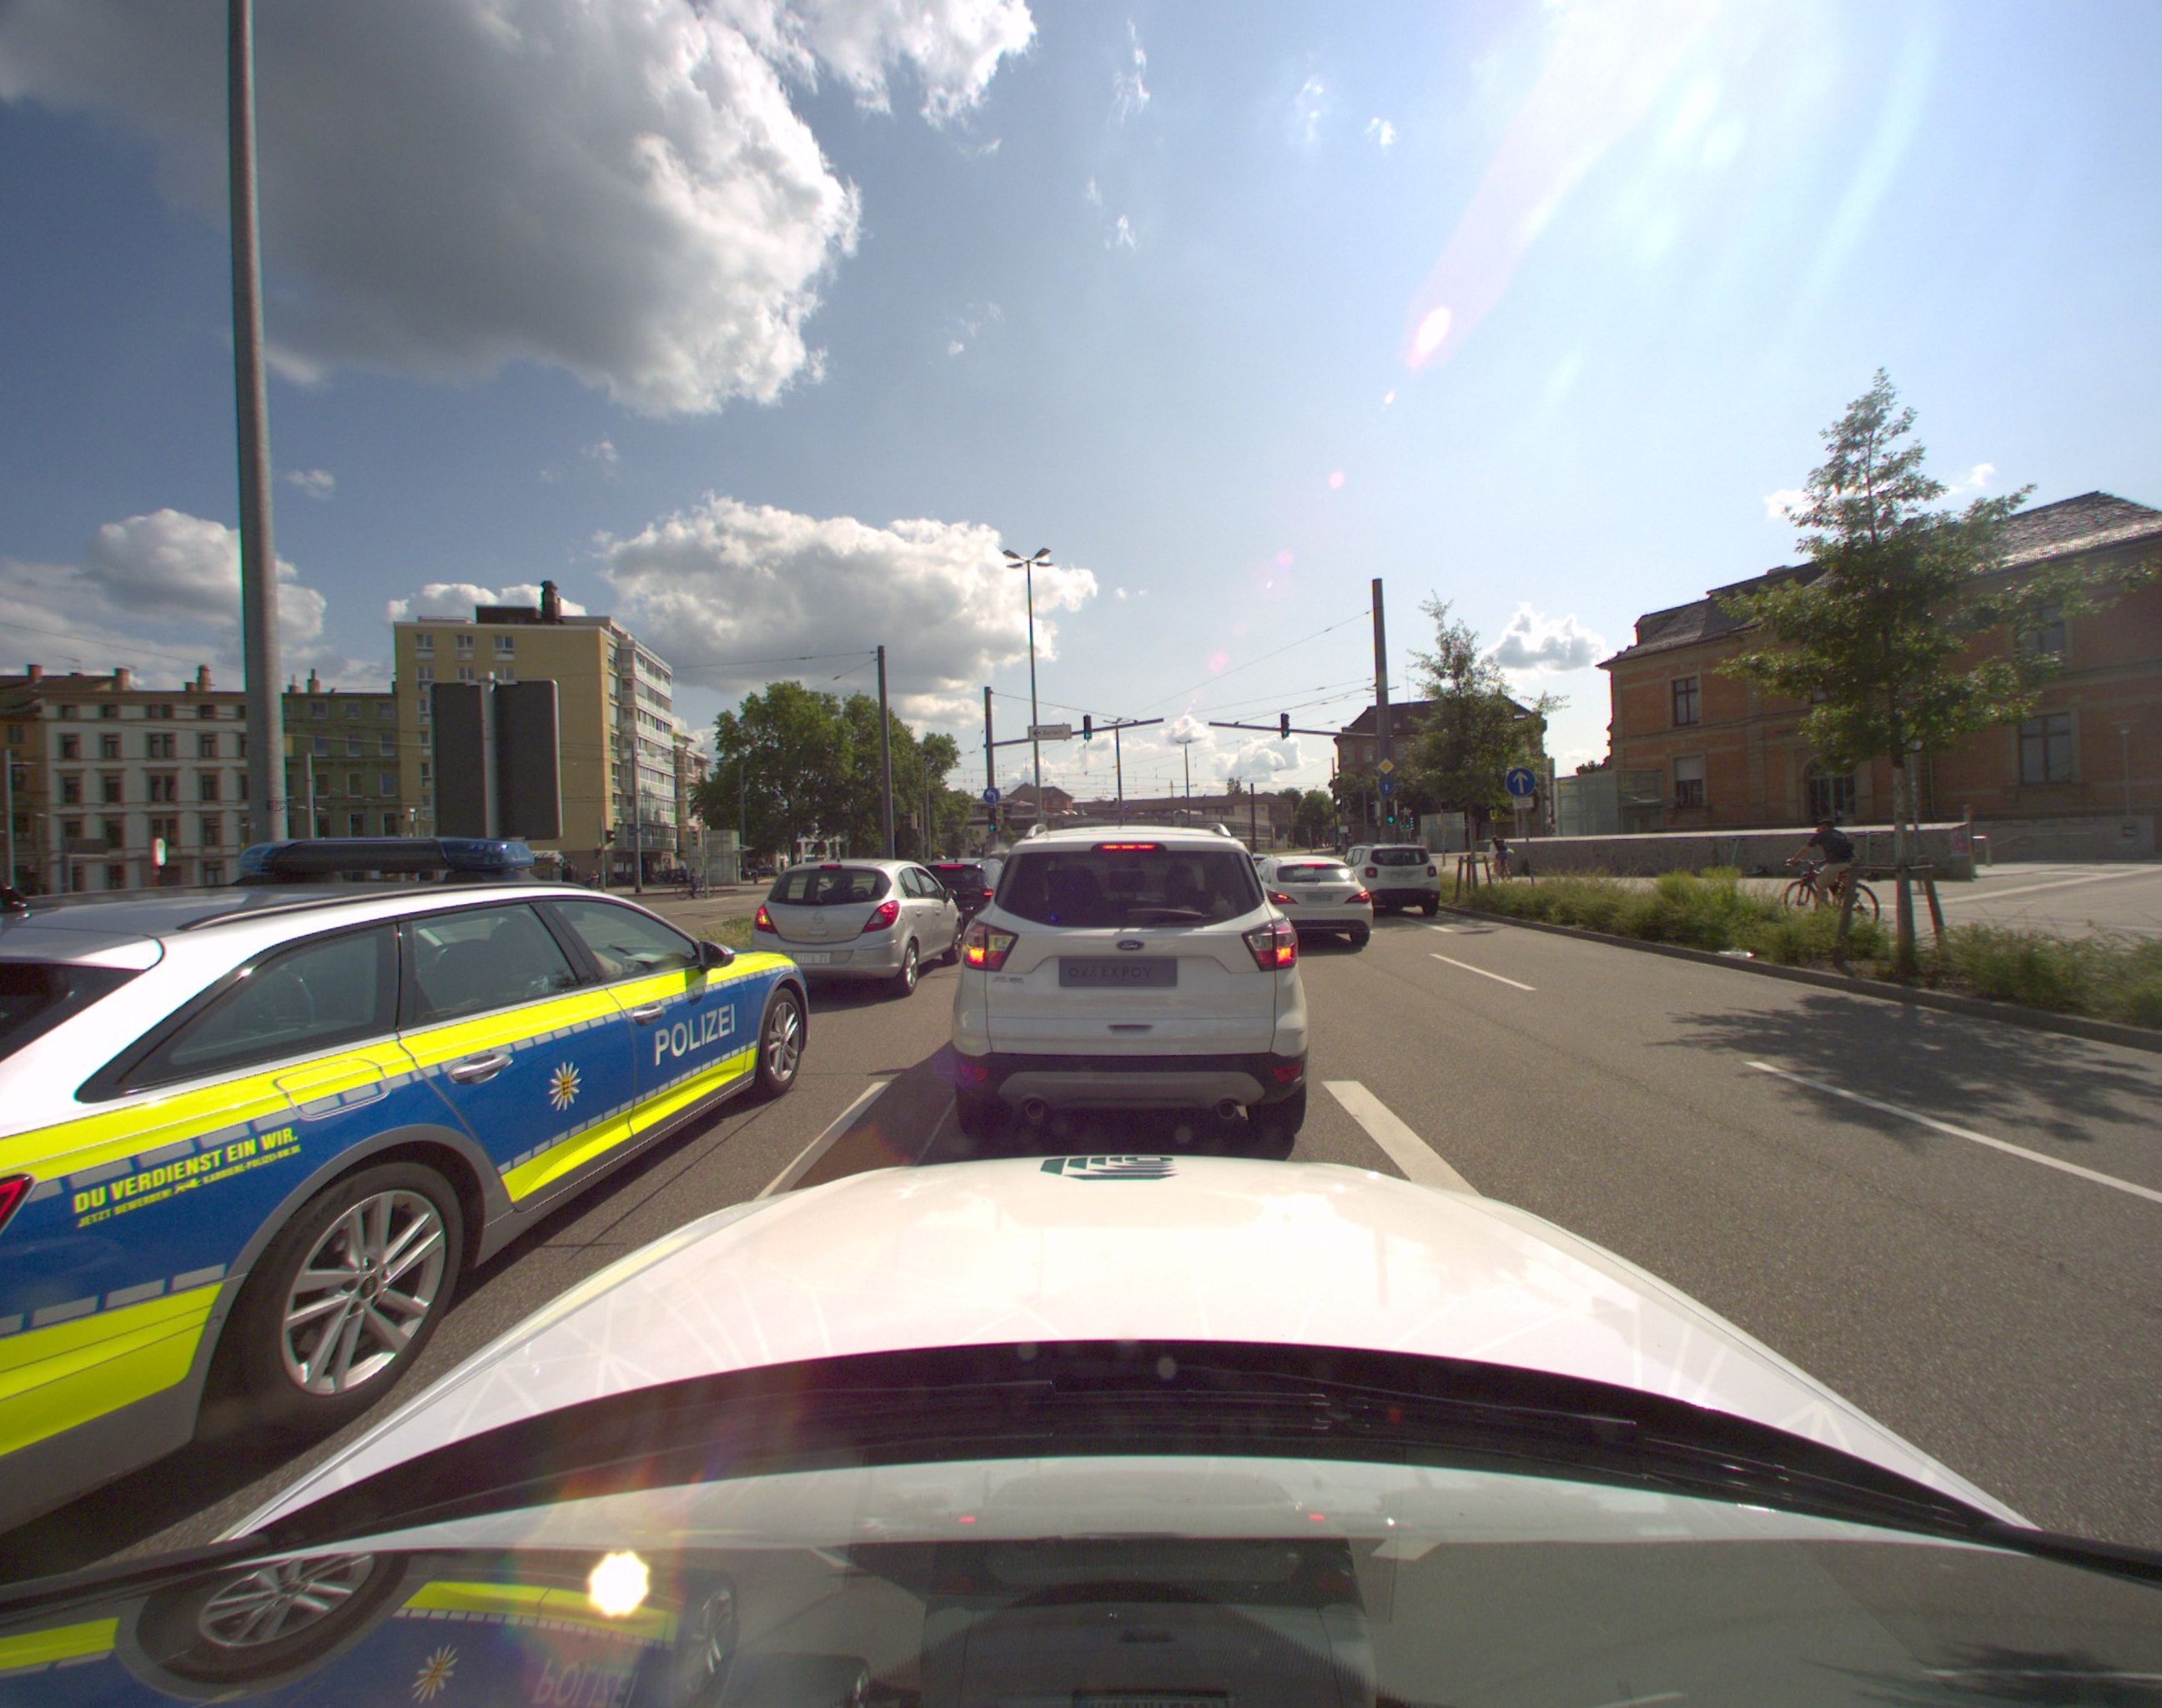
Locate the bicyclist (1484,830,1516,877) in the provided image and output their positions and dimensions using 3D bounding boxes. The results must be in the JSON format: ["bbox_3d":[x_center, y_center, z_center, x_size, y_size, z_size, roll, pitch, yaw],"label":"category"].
[{"bbox_3d":[13.527,-0.018,26.307,0.606,1.451,0.775,-2,0,2],"label":"bicyclist"}]

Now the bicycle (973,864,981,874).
[{"bbox_3d":[-12.293,1.719,96.210,0.640,1.125,1.772,-2,0,-20],"label":"bicycle"}]

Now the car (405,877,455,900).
[{"bbox_3d":[-48.052,2.536,60.108,3.849,1.496,1.912,-3,-2,35],"label":"car"}]

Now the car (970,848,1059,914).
[{"bbox_3d":[-1.693,0.658,22.296,2.033,1.578,4.538,-1,0,0],"label":"car"}]

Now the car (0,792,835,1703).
[{"bbox_3d":[-2.770,0.707,3.505,1.873,1.568,4.616,-2,0,1],"label":"car"}]

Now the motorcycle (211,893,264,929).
[{"bbox_3d":[-30.648,2.075,29.594,1.436,1.236,0.484,-3,-1,3],"label":"motorcycle"}]

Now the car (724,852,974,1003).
[{"bbox_3d":[-2.621,0.750,10.254,1.841,1.474,4.002,-2,0,2],"label":"car"}]

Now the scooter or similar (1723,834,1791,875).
[{"bbox_3d":[19.398,0.020,23.401,0.466,1.118,1.438,-3,0,-18],"label":"scooter or similar"}]

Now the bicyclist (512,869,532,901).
[{"bbox_3d":[-32.424,1.804,47.273,0.779,1.797,0.706,0,-1,-17],"label":"bicyclist"}]

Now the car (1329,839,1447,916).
[{"bbox_3d":[7.325,0.526,19.830,1.826,1.652,4.009,-1,-1,8],"label":"car"}]

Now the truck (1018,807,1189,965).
[{"bbox_3d":[0.472,0.442,14.268,2.329,2.155,5.856,-1,0,3],"label":"truck"}]

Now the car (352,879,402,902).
[{"bbox_3d":[-51.473,2.672,59.553,3.849,1.496,1.912,-3,-2,35],"label":"car"}]

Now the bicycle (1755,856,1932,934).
[{"bbox_3d":[10.980,0.554,11.846,0.842,0.970,1.965,-5,0,8],"label":"bicycle"}]

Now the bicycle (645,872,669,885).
[{"bbox_3d":[-38.357,2.220,73.708,1.808,1.147,0.792,-2,0,-17],"label":"bicycle"}]

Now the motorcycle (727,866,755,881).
[{"bbox_3d":[-30.459,1.784,72.897,2.193,1.238,0.910,-2,1,19],"label":"motorcycle"}]

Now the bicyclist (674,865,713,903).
[{"bbox_3d":[-18.559,1.441,39.032,1.293,1.731,0.994,-3,-1,-1],"label":"bicyclist"}]

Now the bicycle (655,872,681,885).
[{"bbox_3d":[-38.044,2.242,75.005,1.948,1.147,0.792,-2,0,-17],"label":"bicycle"}]

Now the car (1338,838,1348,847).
[{"bbox_3d":[54.109,-2.340,168.124,1.820,1.652,4.021,-2,-1,22],"label":"car"}]

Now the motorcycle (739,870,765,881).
[{"bbox_3d":[-31.411,2.014,77.765,0.801,0.917,2.057,-2,1,39],"label":"motorcycle"}]

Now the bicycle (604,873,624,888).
[{"bbox_3d":[-41.318,2.308,72.089,0.792,1.258,1.808,-2,0,-2],"label":"bicycle"}]

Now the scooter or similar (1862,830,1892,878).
[{"bbox_3d":[19.695,-0.011,20.147,1.326,1.104,0.460,-4,0,-44],"label":"scooter or similar"}]

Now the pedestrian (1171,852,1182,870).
[{"bbox_3d":[9.355,0.671,79.832,0.930,1.744,0.583,0,-1,-34],"label":"pedestrian"}]

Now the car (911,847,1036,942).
[{"bbox_3d":[-1.968,0.694,16.211,1.756,1.568,4.528,-2,0,1],"label":"car"}]

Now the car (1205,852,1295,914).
[{"bbox_3d":[4.222,0.688,20.845,1.841,1.419,3.684,-1,0,5],"label":"car"}]

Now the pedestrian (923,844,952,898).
[{"bbox_3d":[-5.307,0.629,30.177,0.844,1.917,0.693,-3,-1,1],"label":"pedestrian"}]

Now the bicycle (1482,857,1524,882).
[{"bbox_3d":[13.548,0.488,26.205,0.582,0.775,1.623,-2,0,4],"label":"bicycle"}]

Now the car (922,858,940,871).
[{"bbox_3d":[-22.931,1.640,124.650,1.963,1.937,4.227,-4,-1,-2],"label":"car"}]

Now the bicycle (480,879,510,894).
[{"bbox_3d":[-49.380,2.740,68.639,1.808,1.104,0.792,-2,0,-18],"label":"bicycle"}]

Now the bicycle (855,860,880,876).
[{"bbox_3d":[-19.796,1.322,75.575,2.171,1.414,0.808,-1,0,-14],"label":"bicycle"}]

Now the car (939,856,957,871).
[{"bbox_3d":[-20.296,1.450,124.332,1.989,2.014,4.227,-4,-1,-2],"label":"car"}]

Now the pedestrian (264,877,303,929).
[{"bbox_3d":[-28.693,1.738,29.311,0.770,1.797,1.018,0,-1,-30],"label":"pedestrian"}]

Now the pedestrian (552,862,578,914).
[{"bbox_3d":[-19.092,1.235,30.170,0.770,1.903,0.819,0,-1,-30],"label":"pedestrian"}]

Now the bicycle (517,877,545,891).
[{"bbox_3d":[-46.806,2.512,69.317,1.808,1.104,0.792,-2,0,-18],"label":"bicycle"}]

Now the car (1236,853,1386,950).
[{"bbox_3d":[3.792,0.714,14.049,1.841,1.419,3.684,-1,0,5],"label":"car"}]

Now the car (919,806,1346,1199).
[{"bbox_3d":[0.395,0.647,5.498,1.818,1.664,3.961,-1,0,5],"label":"car"}]

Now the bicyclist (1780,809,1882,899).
[{"bbox_3d":[10.913,-0.005,11.880,0.631,1.220,0.926,-4,0,8],"label":"bicyclist"}]

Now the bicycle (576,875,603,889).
[{"bbox_3d":[-42.396,2.398,70.221,1.808,1.104,0.792,-2,0,-18],"label":"bicycle"}]

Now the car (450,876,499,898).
[{"bbox_3d":[-45.965,2.483,61.672,3.849,1.496,1.912,-3,-2,36],"label":"car"}]

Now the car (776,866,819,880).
[{"bbox_3d":[-30.443,2.008,87.492,3.975,1.327,1.632,-3,-1,-1],"label":"car"}]

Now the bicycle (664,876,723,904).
[{"bbox_3d":[-18.538,1.710,39.038,2.286,1.188,0.994,-3,-1,-1],"label":"bicycle"}]

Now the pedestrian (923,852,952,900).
[{"bbox_3d":[-5.174,0.787,29.323,0.844,1.648,0.693,-3,-1,1],"label":"pedestrian"}]

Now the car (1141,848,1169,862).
[{"bbox_3d":[8.535,0.071,93.678,1.882,1.461,3.991,-3,0,24],"label":"car"}]

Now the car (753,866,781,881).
[{"bbox_3d":[-32.485,2.041,84.397,1.905,1.413,3.986,-3,-1,-10],"label":"car"}]

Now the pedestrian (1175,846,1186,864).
[{"bbox_3d":[9.639,0.107,79.119,0.930,1.744,0.583,0,-1,-33],"label":"pedestrian"}]

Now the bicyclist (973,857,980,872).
[{"bbox_3d":[-12.352,1.252,96.314,0.640,1.738,0.657,-1,0,-20],"label":"bicyclist"}]
